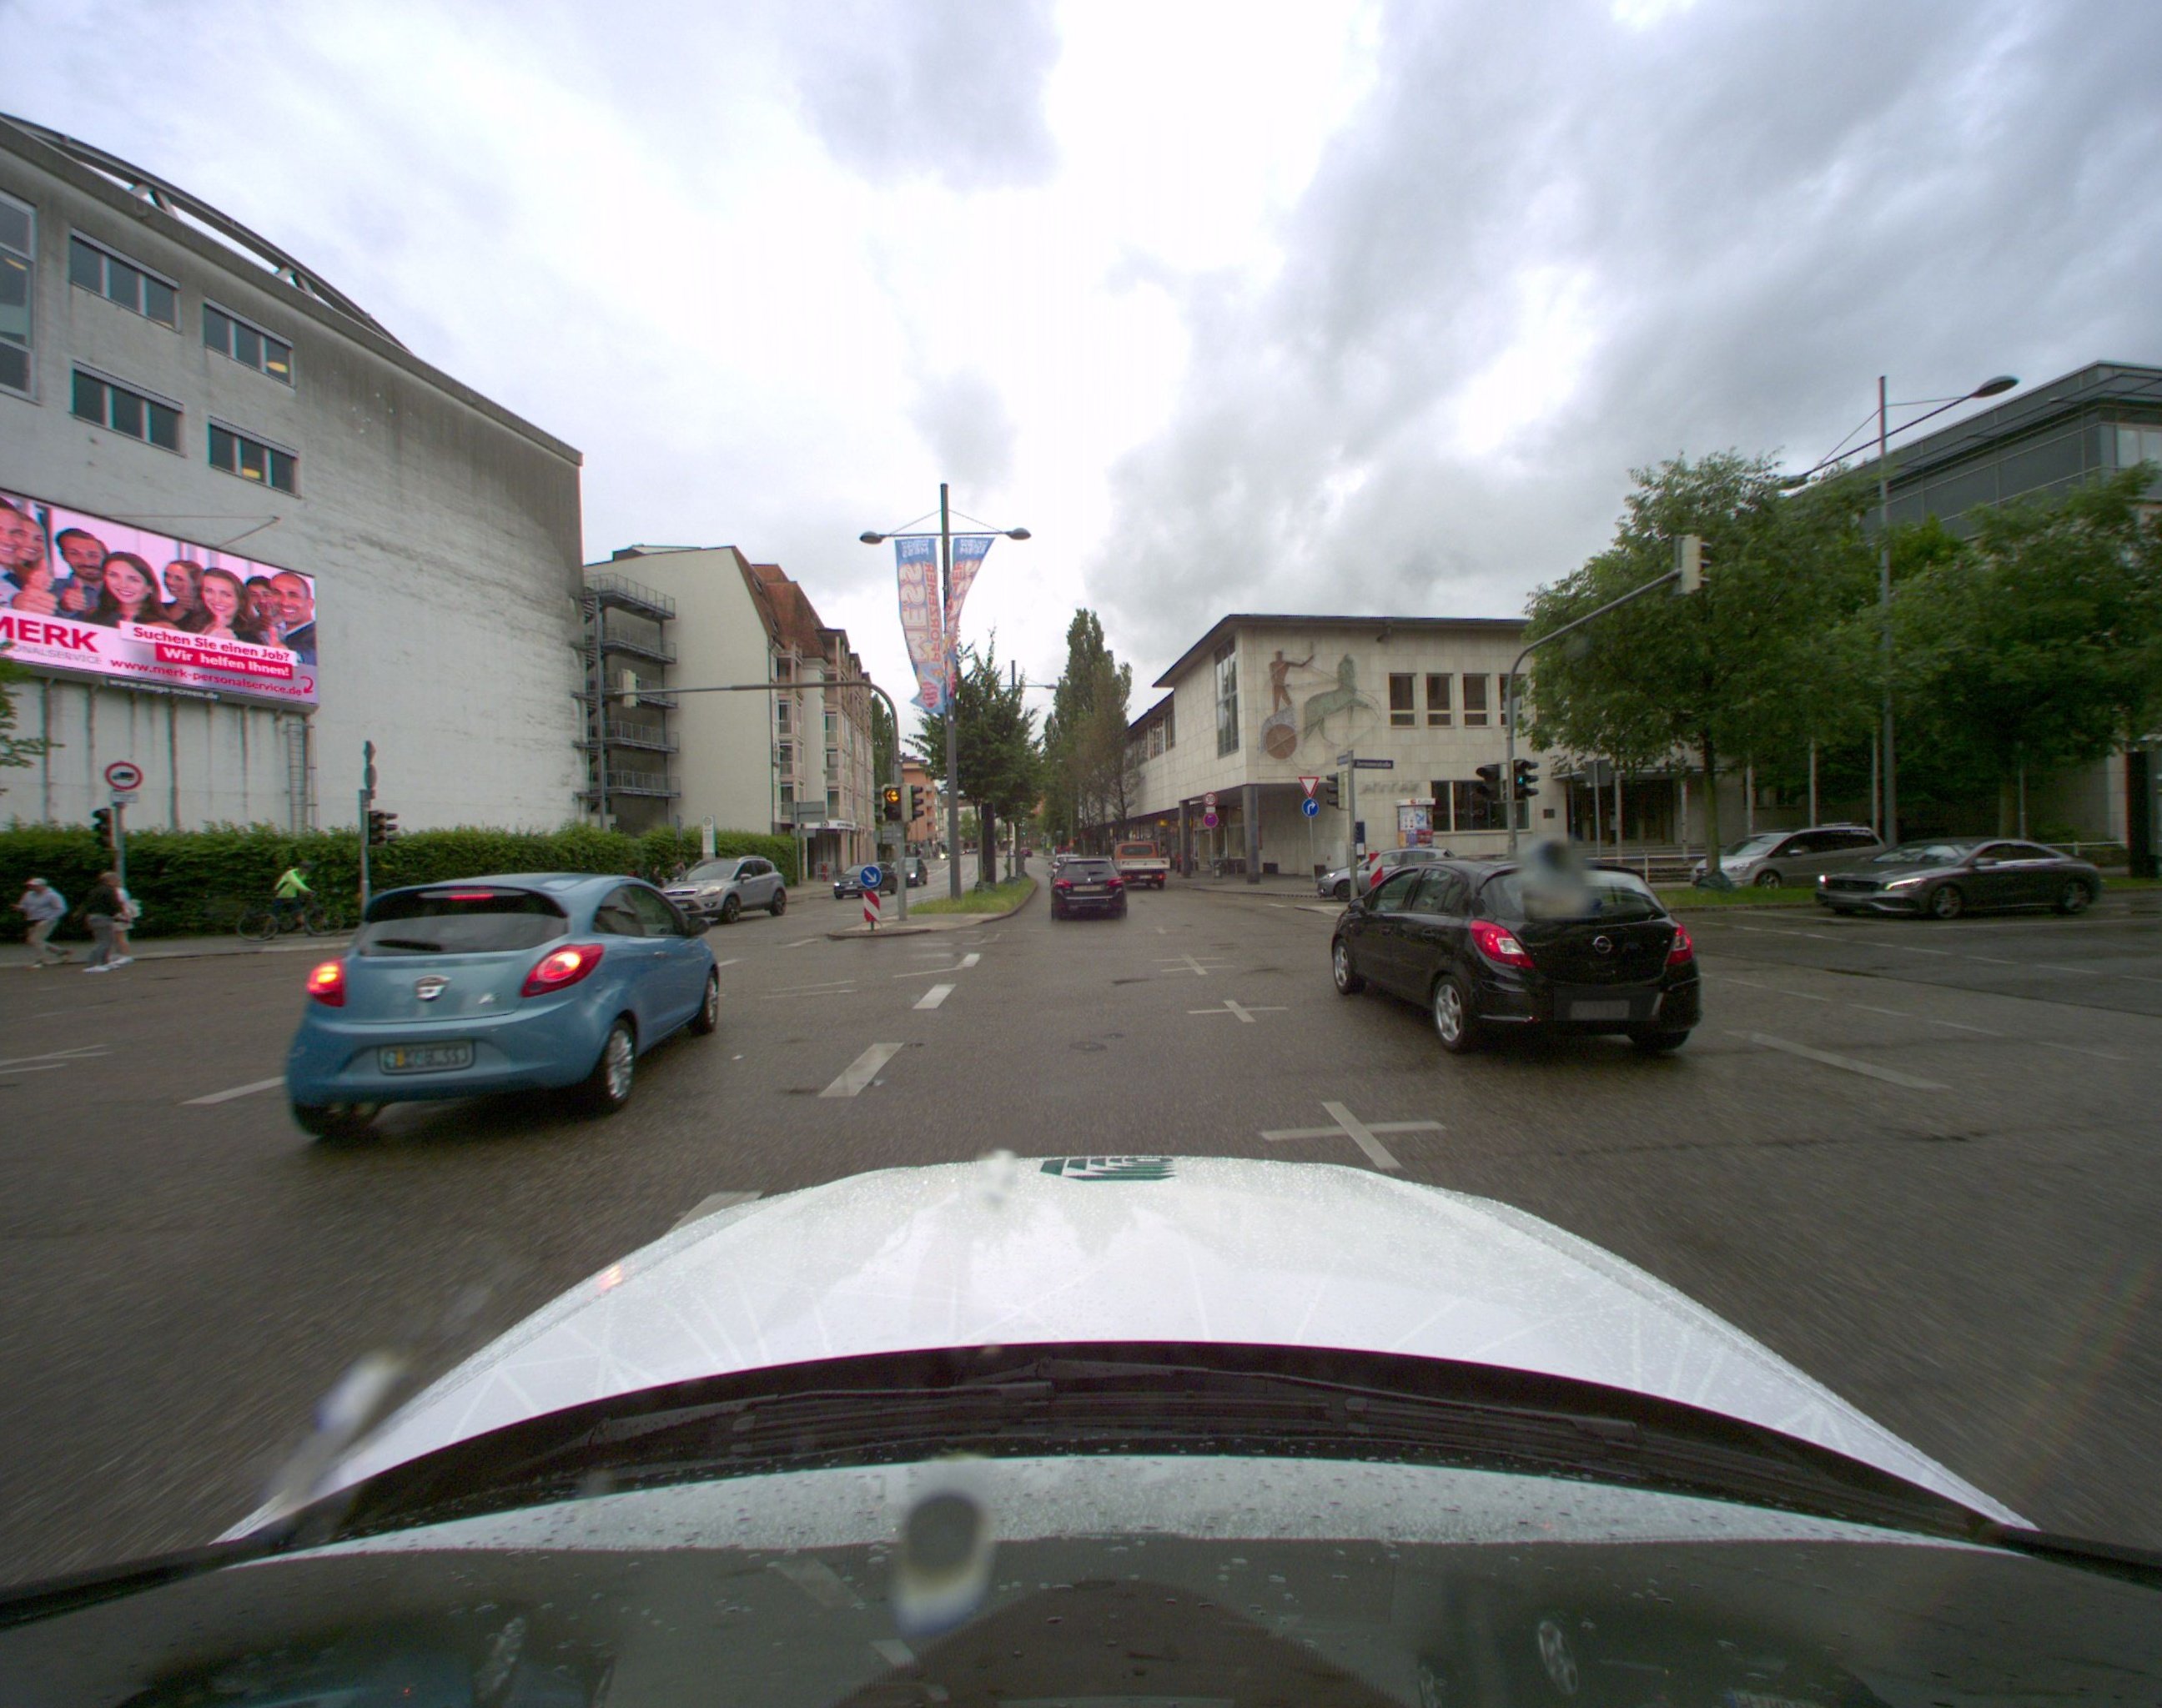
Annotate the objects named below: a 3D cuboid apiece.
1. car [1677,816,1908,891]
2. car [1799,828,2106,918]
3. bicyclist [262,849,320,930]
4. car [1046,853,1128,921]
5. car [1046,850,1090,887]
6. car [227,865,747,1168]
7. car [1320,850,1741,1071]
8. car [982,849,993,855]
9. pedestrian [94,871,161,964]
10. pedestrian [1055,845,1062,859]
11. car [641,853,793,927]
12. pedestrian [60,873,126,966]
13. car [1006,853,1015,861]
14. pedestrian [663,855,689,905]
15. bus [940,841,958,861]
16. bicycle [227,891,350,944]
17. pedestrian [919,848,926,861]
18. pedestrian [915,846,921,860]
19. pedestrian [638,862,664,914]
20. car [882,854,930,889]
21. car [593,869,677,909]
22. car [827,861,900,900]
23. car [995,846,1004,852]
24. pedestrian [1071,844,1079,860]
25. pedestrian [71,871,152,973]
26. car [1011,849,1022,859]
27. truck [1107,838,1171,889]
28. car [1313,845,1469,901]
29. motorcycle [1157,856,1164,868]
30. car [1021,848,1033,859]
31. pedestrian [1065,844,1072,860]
[{"bbox_3d":[18.550,-0.006,21.342,4.586,1.759,1.853,-2,-1,-5],"label":"car"},{"bbox_3d":[15.986,0.311,15.039,4.257,1.420,1.782,-2,0,-9],"label":"car"},{"bbox_3d":[-19.090,0.843,19.692,0.784,1.890,0.959,-2,0,45],"label":"bicyclist"},{"bbox_3d":[0.212,0.756,20.060,1.788,1.483,4.002,-1,-1,2],"label":"car"},{"bbox_3d":[-0.516,0.591,36.049,1.789,1.483,4.000,-2,0,0],"label":"car"},{"bbox_3d":[-3.860,0.862,6.152,1.696,1.474,3.677,-2,0,-10],"label":"car"},{"bbox_3d":[3.537,0.700,7.281,1.702,1.457,3.742,0,0,0],"label":"car"},{"bbox_3d":[-27.242,-0.464,236.715,1.656,1.564,3.563,2,-3,-32],"label":"car"},{"bbox_3d":[-18.725,1.231,15.995,0.524,1.764,0.593,2,-1,3],"label":"pedestrian"},{"bbox_3d":[-2.870,-0.258,102.337,0.717,1.620,0.767,-3,0,-8],"label":"pedestrian"},{"bbox_3d":[-9.442,0.883,21.542,1.819,1.736,4.315,-1,-1,4],"label":"car"},{"bbox_3d":[-19.298,1.267,15.914,0.524,1.764,0.593,1,0,3],"label":"pedestrian"},{"bbox_3d":[-13.903,0.613,159.874,1.643,1.564,3.590,1,-2,-7],"label":"car"},{"bbox_3d":[-14.745,0.951,29.668,0.639,1.765,0.592,-1,-3,1],"label":"pedestrian"},{"bbox_3d":[-22.269,-0.637,137.146,2.744,3.075,12.199,-1,2,-9],"label":"bus"},{"bbox_3d":[-19.075,1.504,19.648,0.644,1.110,2.070,-2,0,44],"label":"bicycle"},{"bbox_3d":[-22.006,0.126,112.932,0.796,1.794,0.811,-1,0,-5],"label":"pedestrian"},{"bbox_3d":[-20.468,-0.113,102.352,0.697,1.794,0.957,-1,0,-5],"label":"pedestrian"},{"bbox_3d":[-14.763,1.170,27.967,0.525,1.765,0.630,-1,-3,1],"label":"pedestrian"},{"bbox_3d":[-9.610,0.931,44.964,1.823,1.736,4.253,-3,0,-3],"label":"car"},{"bbox_3d":[-19.016,1.437,34.877,1.590,1.510,3.598,-2,0,-1],"label":"car"},{"bbox_3d":[-9.081,1.064,34.318,1.750,1.420,4.099,-3,-1,3],"label":"car"},{"bbox_3d":[-22.653,-1.457,226.005,1.994,1.684,3.986,-2,0,-11],"label":"car"},{"bbox_3d":[-0.721,-0.204,95.866,0.698,1.801,0.605,-3,0,-8],"label":"pedestrian"},{"bbox_3d":[-17.230,1.198,14.482,0.645,1.765,0.592,-1,-3,0],"label":"pedestrian"},{"bbox_3d":[-11.001,0.077,139.494,1.643,1.564,3.590,1,-2,-7],"label":"car"},{"bbox_3d":[2.393,0.394,34.663,2.117,2.025,4.709,0,-1,-4],"label":"truck"},{"bbox_3d":[8.800,0.544,23.170,3.951,1.477,2.011,-1,-1,23],"label":"car"},{"bbox_3d":[5.513,0.551,56.485,0.324,0.804,0.918,-2,1,-7],"label":"motorcycle"},{"bbox_3d":[-8.135,-0.076,122.467,1.643,1.564,3.590,1,-2,-7],"label":"car"},{"bbox_3d":[-1.520,-0.248,95.796,0.653,1.767,0.920,-3,0,-8],"label":"pedestrian"}]
